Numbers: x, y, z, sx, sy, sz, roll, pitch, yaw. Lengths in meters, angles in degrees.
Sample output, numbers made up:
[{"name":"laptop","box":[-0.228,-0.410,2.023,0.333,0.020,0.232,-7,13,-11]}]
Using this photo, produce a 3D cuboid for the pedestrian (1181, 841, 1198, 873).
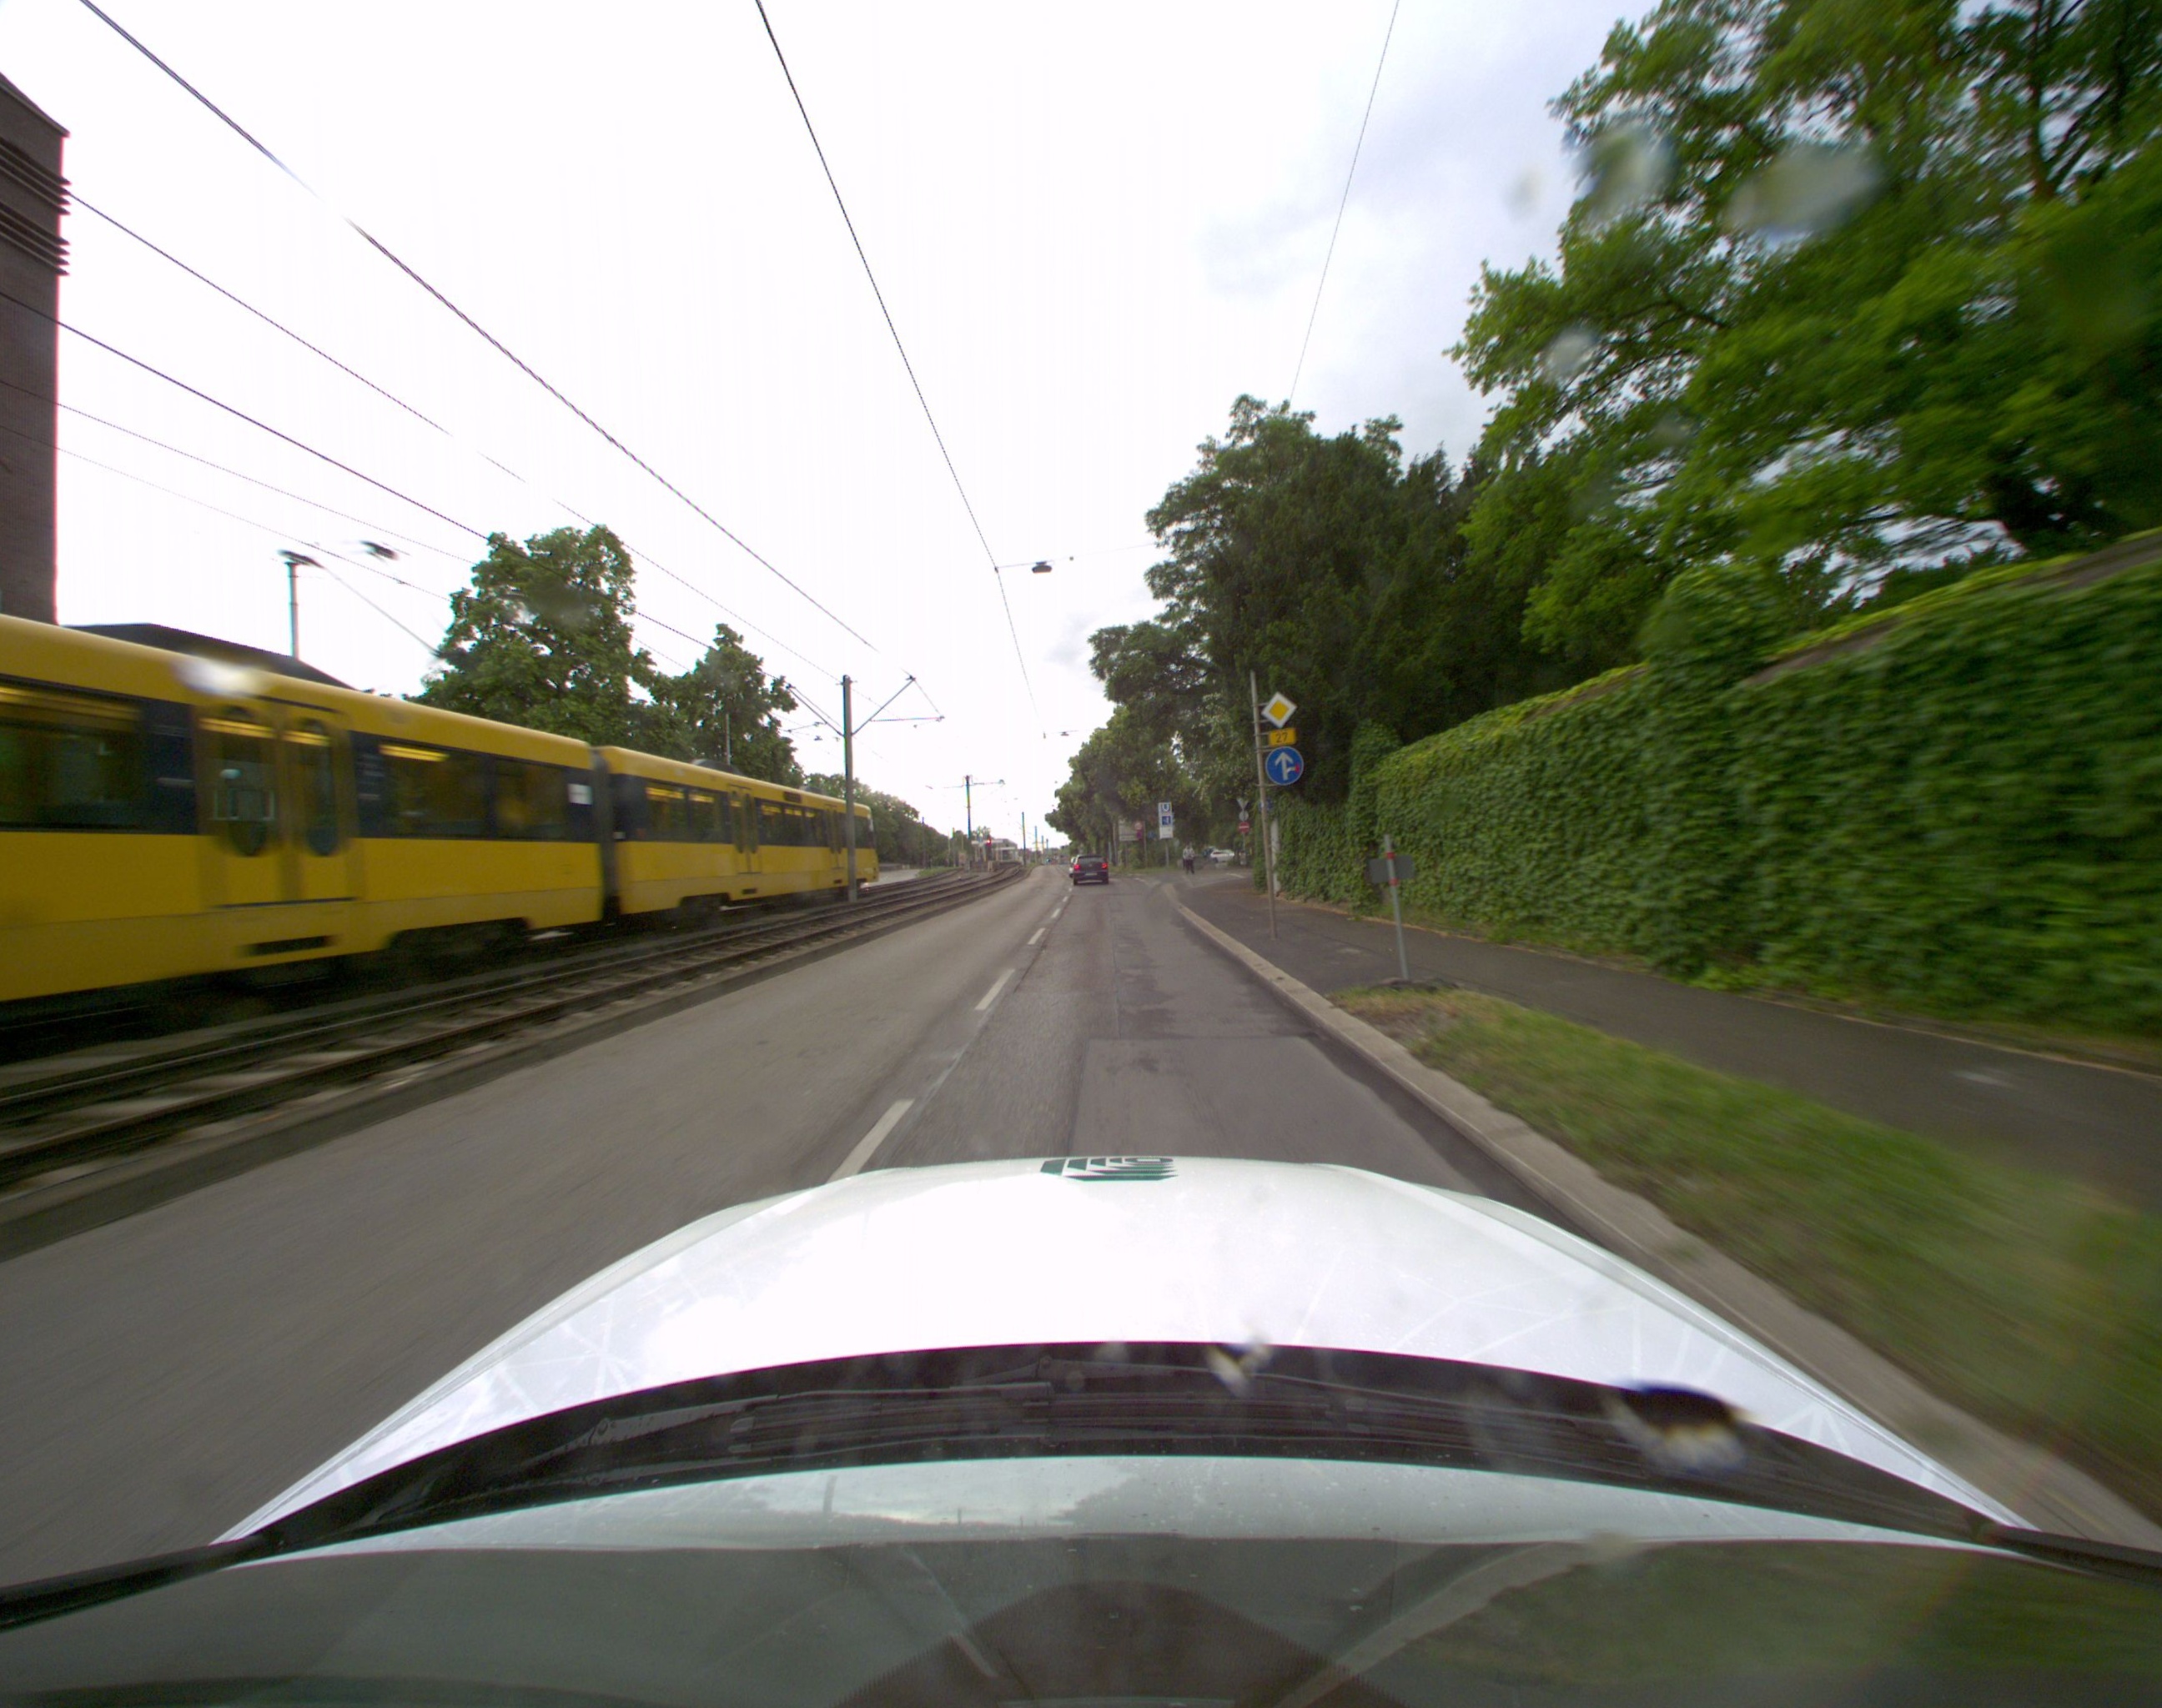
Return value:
[{"name":"pedestrian","box":[6.331,0.164,47.745,0.852,1.854,0.737,-2,0,1]}]

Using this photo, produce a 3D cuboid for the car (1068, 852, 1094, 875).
[{"name":"car","box":[-0.057,0.685,59.084,1.683,1.517,3.997,-3,0,-2]}]

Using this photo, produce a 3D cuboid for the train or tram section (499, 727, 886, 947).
[{"name":"train or tram section","box":[-9.373,-0.372,24.094,2.819,3.975,17.872,-3,0,0]}]

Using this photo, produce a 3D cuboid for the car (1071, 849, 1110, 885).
[{"name":"car","box":[0.418,0.593,39.037,1.721,1.540,3.999,-3,0,0]}]

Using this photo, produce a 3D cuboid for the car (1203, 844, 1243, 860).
[{"name":"car","box":[16.879,-0.205,97.014,1.957,1.834,4.414,0,0,-43]}]

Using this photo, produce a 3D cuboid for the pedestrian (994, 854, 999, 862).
[{"name":"pedestrian","box":[-13.939,0.705,134.271,0.708,1.225,0.619,-2,0,-2]}]

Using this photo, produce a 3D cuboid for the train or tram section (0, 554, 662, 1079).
[{"name":"train or tram section","box":[-9.593,-0.233,5.243,2.818,3.975,20.034,-3,0,1]}]

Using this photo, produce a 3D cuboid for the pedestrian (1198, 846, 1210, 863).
[{"name":"pedestrian","box":[14.742,0.048,97.451,0.965,2.013,0.942,-2,0,-26]}]
